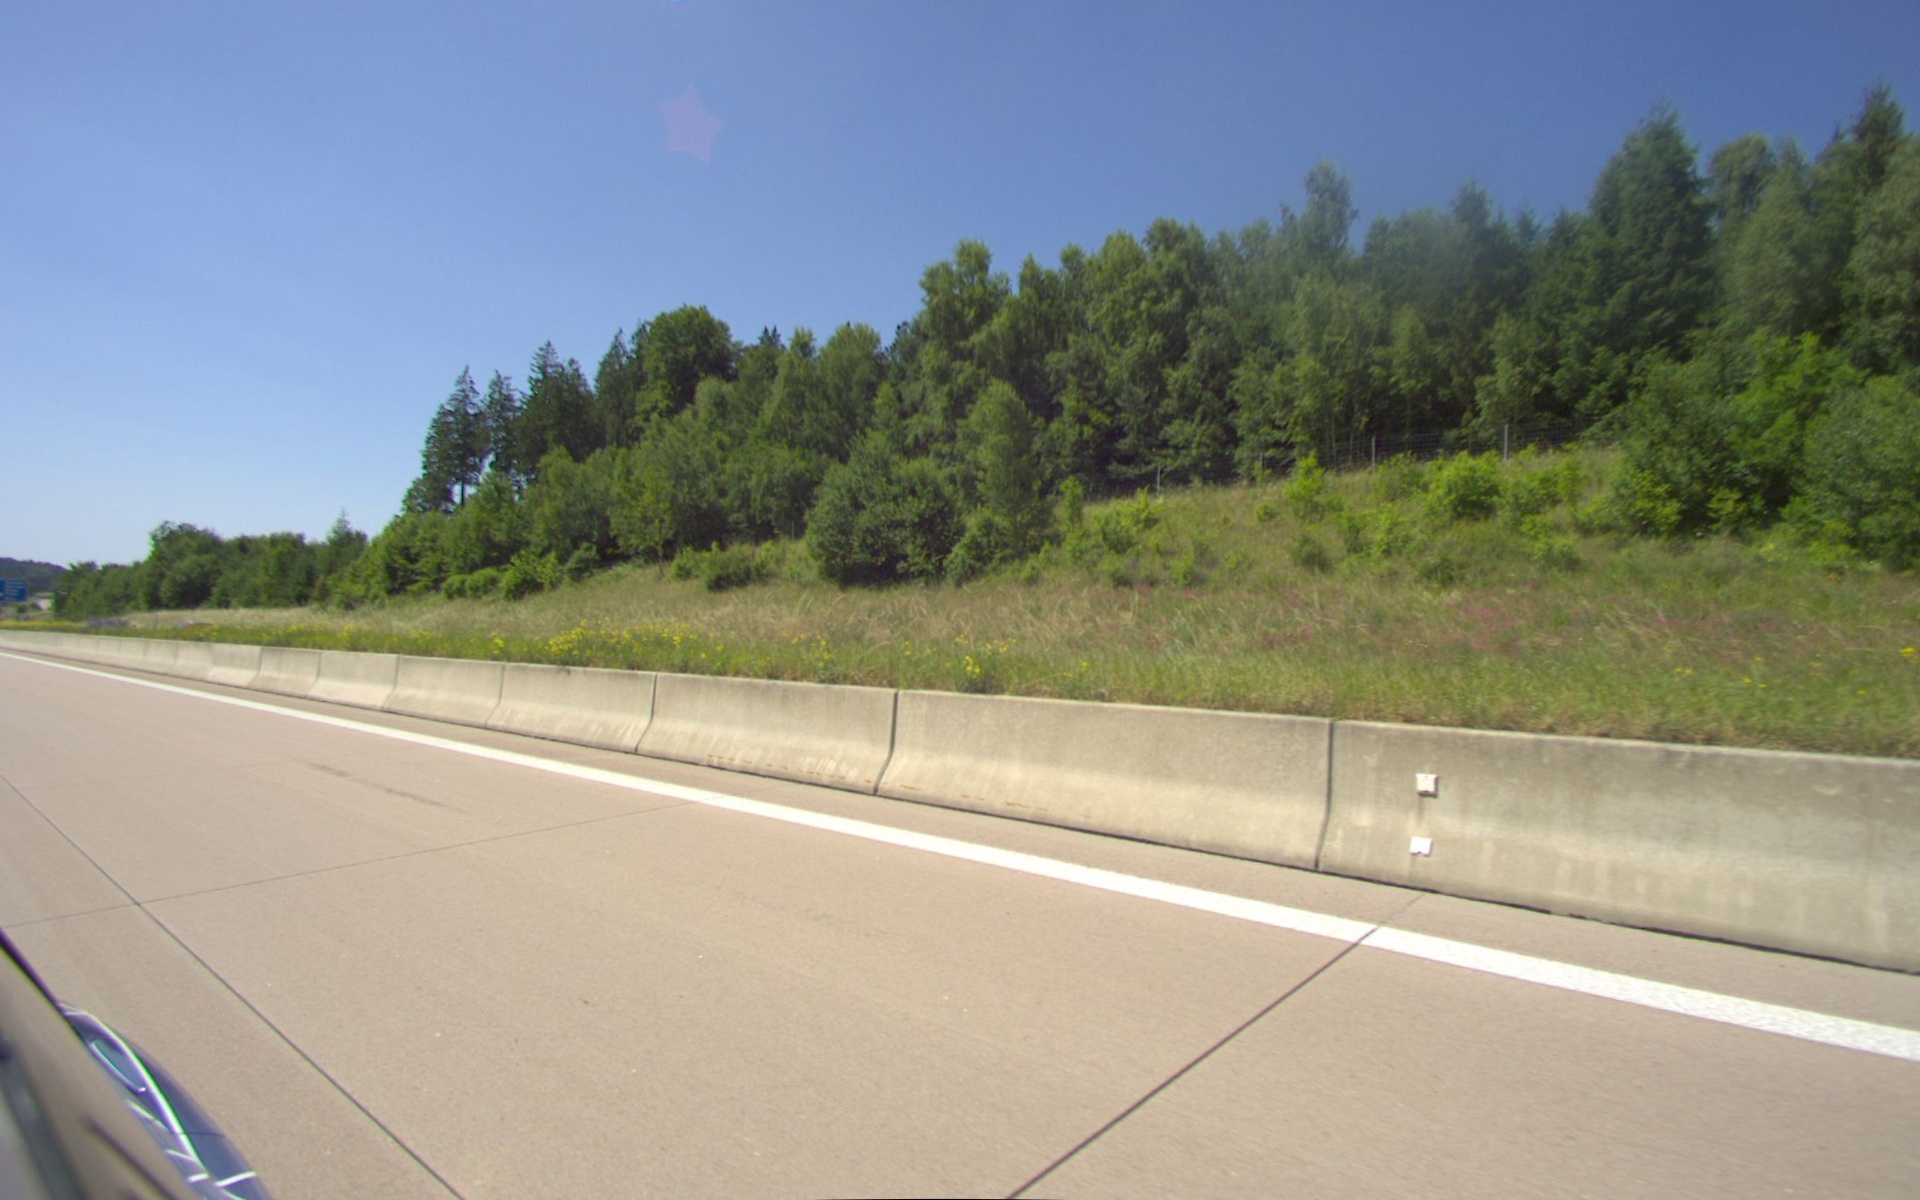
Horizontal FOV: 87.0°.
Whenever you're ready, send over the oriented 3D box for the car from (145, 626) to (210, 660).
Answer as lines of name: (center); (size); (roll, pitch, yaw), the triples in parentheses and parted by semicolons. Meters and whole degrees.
car: (-42.909, 2.350, 55.447); (4.459, 1.752, 1.872); (-2, -1, 39)
